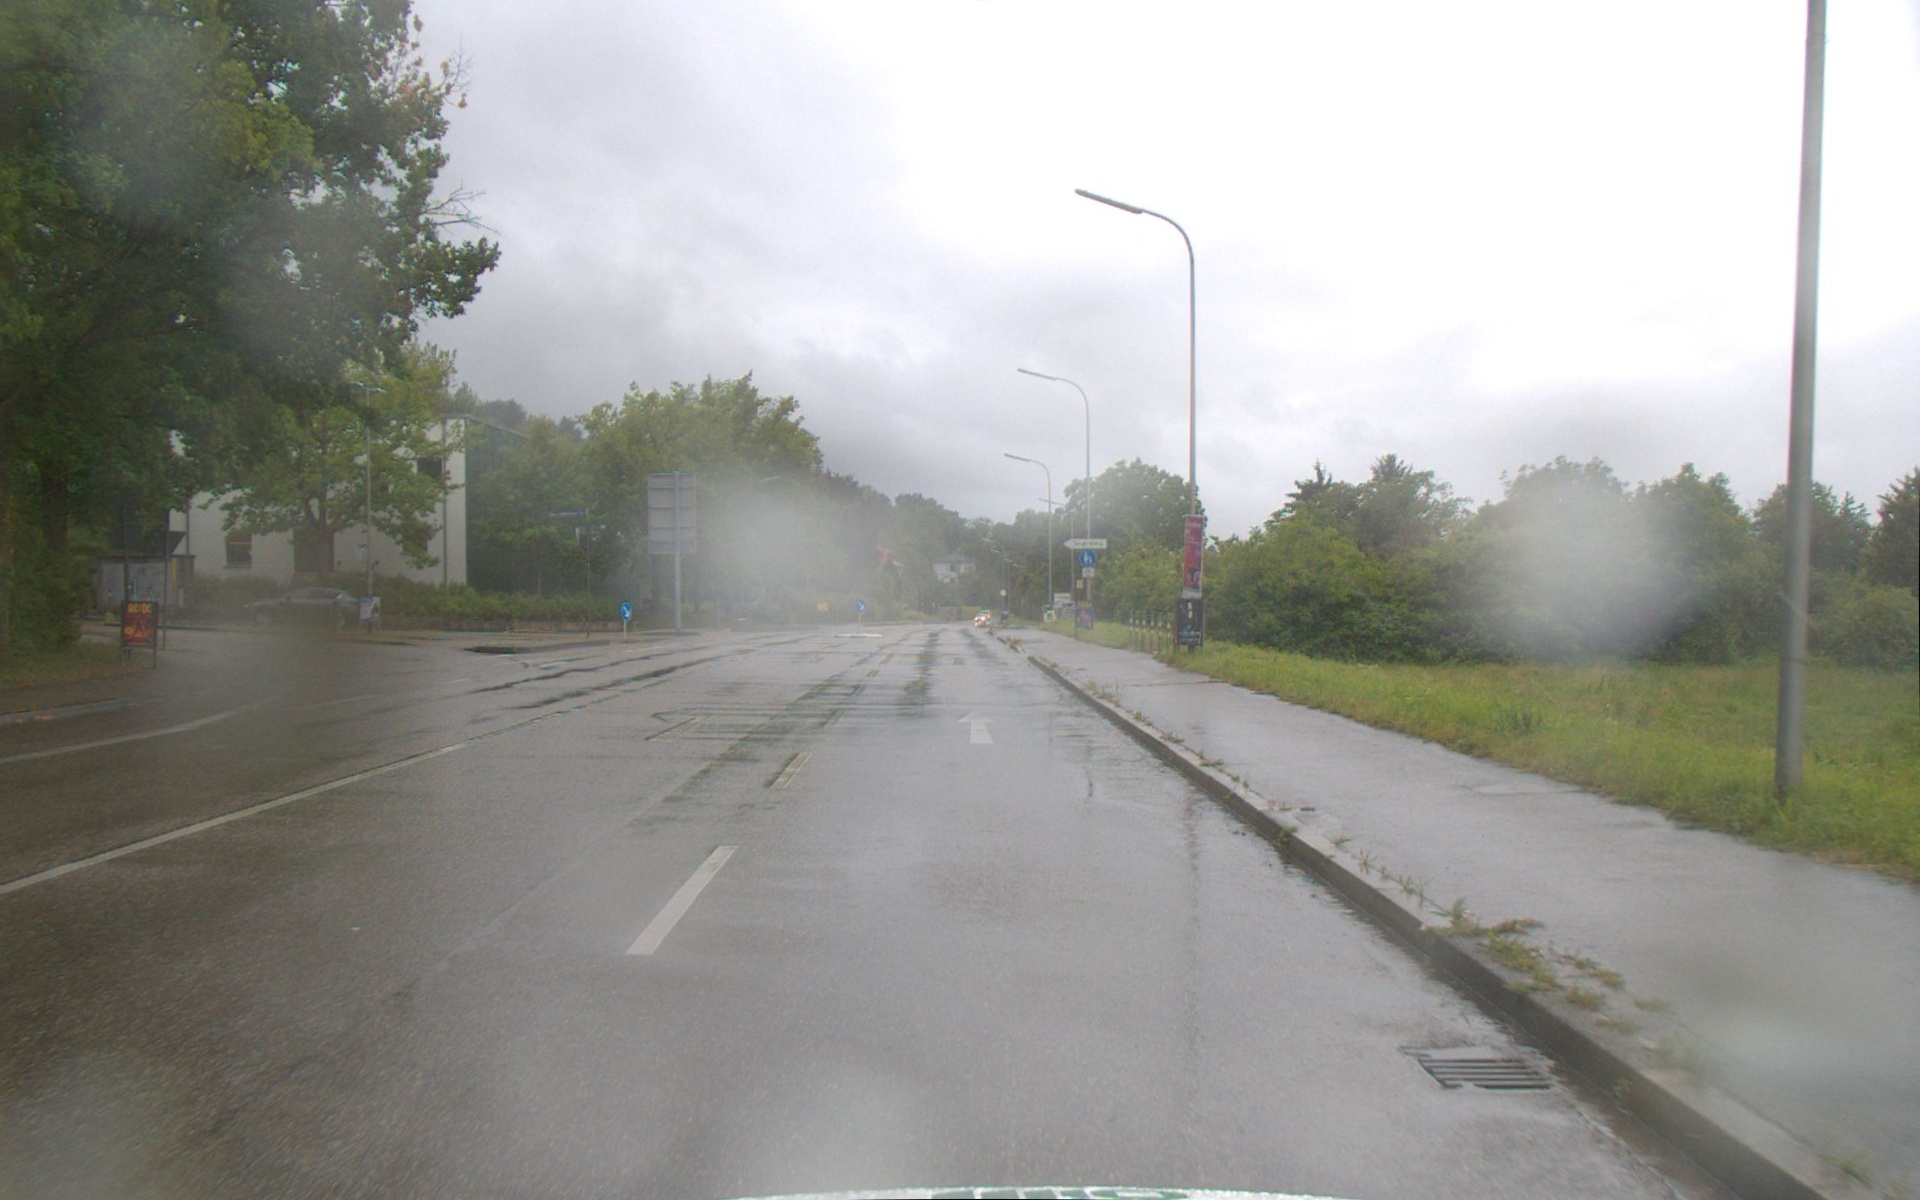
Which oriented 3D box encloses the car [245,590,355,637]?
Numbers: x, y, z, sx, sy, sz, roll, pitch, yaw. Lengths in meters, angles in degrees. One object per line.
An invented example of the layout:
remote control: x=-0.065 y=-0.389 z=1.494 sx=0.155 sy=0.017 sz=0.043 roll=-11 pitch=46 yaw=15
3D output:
car: x=-25.793 y=0.525 z=64.740 sx=3.931 sy=1.793 sz=1.788 roll=1 pitch=0 yaw=-22
